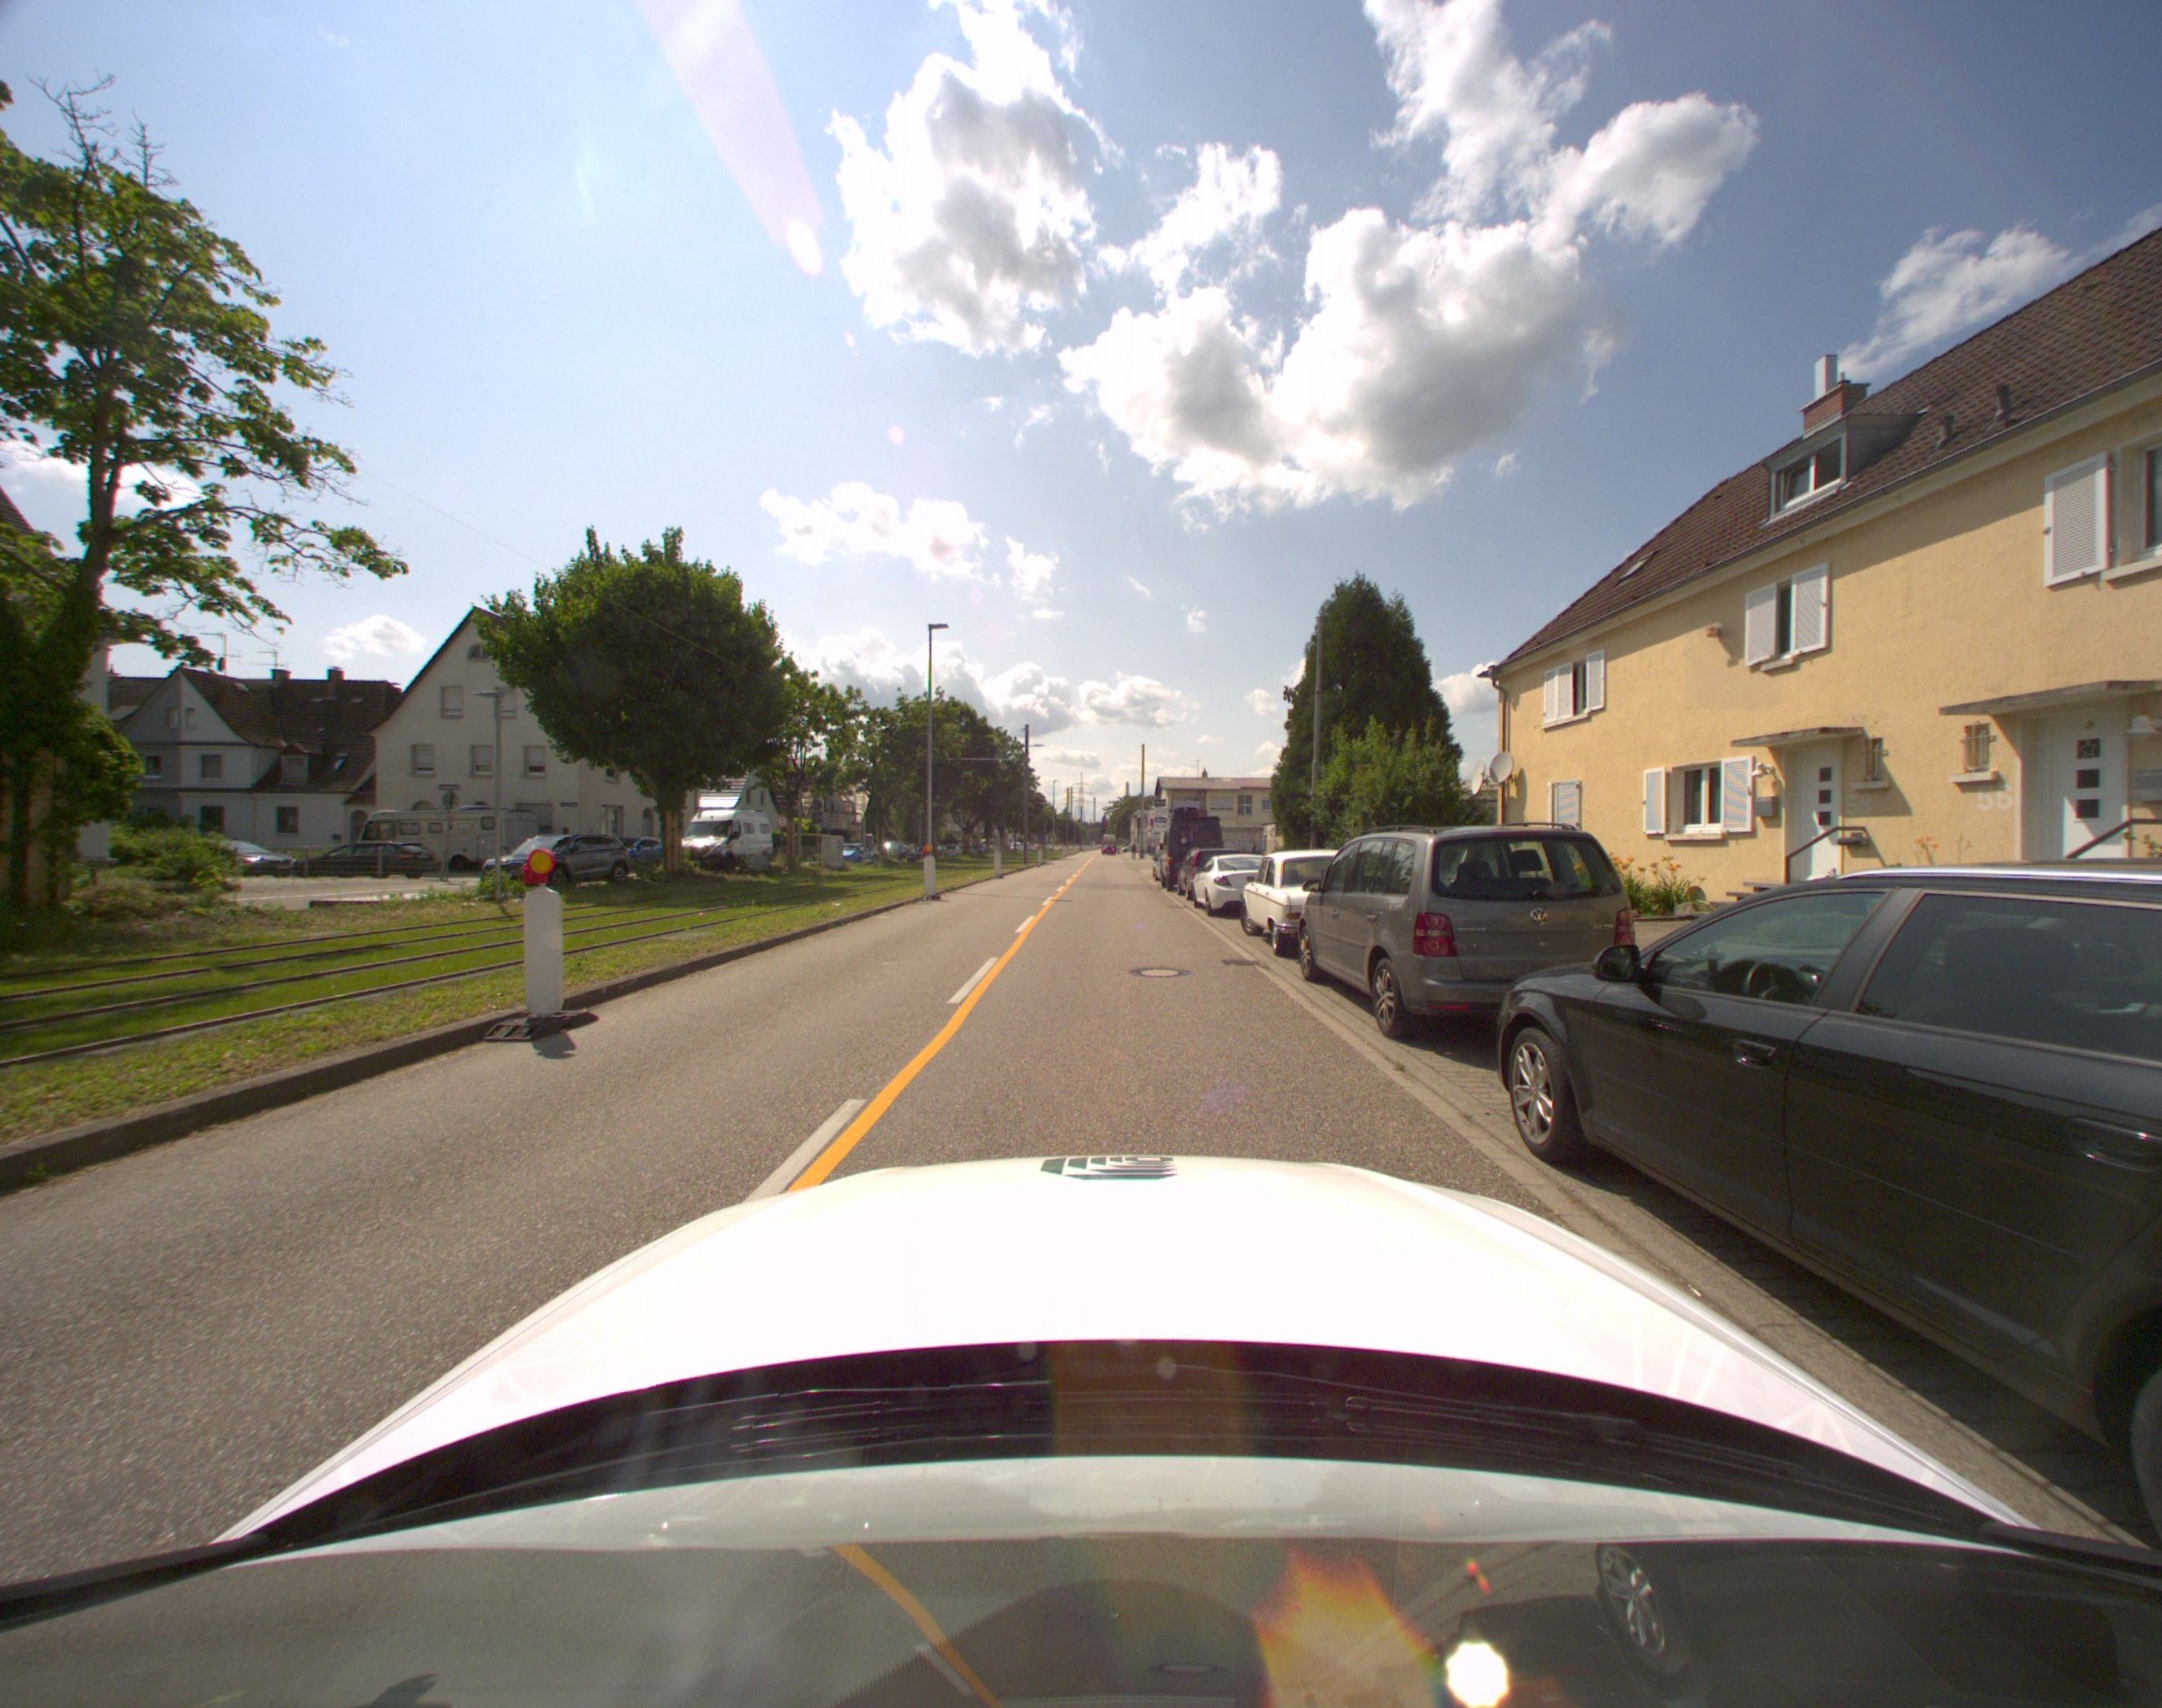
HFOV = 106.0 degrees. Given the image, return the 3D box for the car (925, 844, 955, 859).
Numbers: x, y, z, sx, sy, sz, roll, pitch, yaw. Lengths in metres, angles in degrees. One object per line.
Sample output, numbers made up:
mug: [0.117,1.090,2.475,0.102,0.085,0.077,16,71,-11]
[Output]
car: [-13.285,-0.224,76.850,1.986,1.318,3.854,-2,0,2]

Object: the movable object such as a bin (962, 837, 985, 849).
movable object such as a bin: [-21.806,-2.193,164.641,4.350,2.449,1.777,0,1,-20]

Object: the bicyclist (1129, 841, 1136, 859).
bicyclist: [5.015,-0.413,79.072,0.669,1.744,0.814,1,0,1]

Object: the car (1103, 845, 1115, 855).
car: [4.262,-0.675,123.290,1.815,1.424,4.002,1,1,2]

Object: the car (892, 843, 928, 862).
car: [-13.928,-0.126,66.663,1.986,1.439,4.001,-1,0,1]

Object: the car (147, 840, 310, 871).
car: [-31.630,0.059,30.302,3.972,1.134,2.001,0,0,1]

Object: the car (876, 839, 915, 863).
car: [-13.852,-0.229,60.913,1.988,1.691,4.389,0,0,-1]

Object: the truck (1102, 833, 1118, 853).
truck: [5.000,-1.922,139.612,2.600,3.255,9.189,0,2,3]

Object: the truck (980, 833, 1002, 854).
truck: [-12.211,-1.467,111.006,1.986,2.767,6.279,-2,1,2]

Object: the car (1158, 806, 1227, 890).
car: [3.925,-0.222,29.459,1.988,2.760,4.881,0,0,2]

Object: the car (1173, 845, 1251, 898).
car: [3.773,0.456,24.232,1.714,1.402,4.839,0,0,2]

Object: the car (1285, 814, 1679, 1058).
car: [3.222,0.536,7.597,1.673,1.630,4.272,0,0,1]

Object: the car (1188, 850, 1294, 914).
car: [3.551,0.562,18.770,1.715,1.295,4.130,0,0,1]

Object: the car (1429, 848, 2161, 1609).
car: [2.922,0.710,2.753,1.679,1.437,4.518,-1,0,2]

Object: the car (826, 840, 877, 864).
car: [-14.074,-0.109,50.148,1.746,1.435,3.893,0,0,4]

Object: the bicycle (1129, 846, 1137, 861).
bicycle: [5.014,-0.074,79.096,0.690,1.361,2.419,0,1,2]

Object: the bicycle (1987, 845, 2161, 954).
bicycle: [10.560,0.467,8.569,1.683,1.102,0.290,1,0,1]

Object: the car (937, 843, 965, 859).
car: [-13.133,-0.301,82.503,1.798,1.482,4.942,0,0,2]

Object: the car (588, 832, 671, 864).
car: [-22.954,-0.292,41.575,1.895,1.577,4.002,0,0,2]

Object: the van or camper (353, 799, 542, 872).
van or camper: [-29.167,-0.864,37.675,6.703,3.221,2.635,0,0,1]

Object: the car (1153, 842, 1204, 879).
car: [4.182,0.281,35.660,1.686,1.516,4.355,0,0,0]

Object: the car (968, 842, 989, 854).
car: [-12.579,-0.739,99.950,1.987,1.453,4.000,0,0,0]

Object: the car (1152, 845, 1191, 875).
car: [4.435,0.278,40.354,1.645,1.431,4.099,0,0,3]

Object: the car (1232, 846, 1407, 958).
car: [3.410,0.594,12.387,1.643,1.418,4.028,0,0,3]

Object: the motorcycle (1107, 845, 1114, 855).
motorcycle: [4.272,-0.572,118.812,0.936,1.320,2.646,3,0,2]

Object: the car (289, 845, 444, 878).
car: [-26.491,0.271,30.308,3.972,1.161,2.046,0,0,1]

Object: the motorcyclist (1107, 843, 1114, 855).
motorcyclist: [4.276,-0.723,118.631,0.936,1.615,1.205,3,0,2]

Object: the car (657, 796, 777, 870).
car: [-14.601,-0.832,33.234,1.987,2.730,6.462,0,1,0]

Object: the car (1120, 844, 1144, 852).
car: [10.048,-1.188,160.640,4.325,1.551,1.946,0,0,-7]

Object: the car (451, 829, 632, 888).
car: [-15.008,0.117,23.030,1.986,1.506,4.489,0,0,2]
